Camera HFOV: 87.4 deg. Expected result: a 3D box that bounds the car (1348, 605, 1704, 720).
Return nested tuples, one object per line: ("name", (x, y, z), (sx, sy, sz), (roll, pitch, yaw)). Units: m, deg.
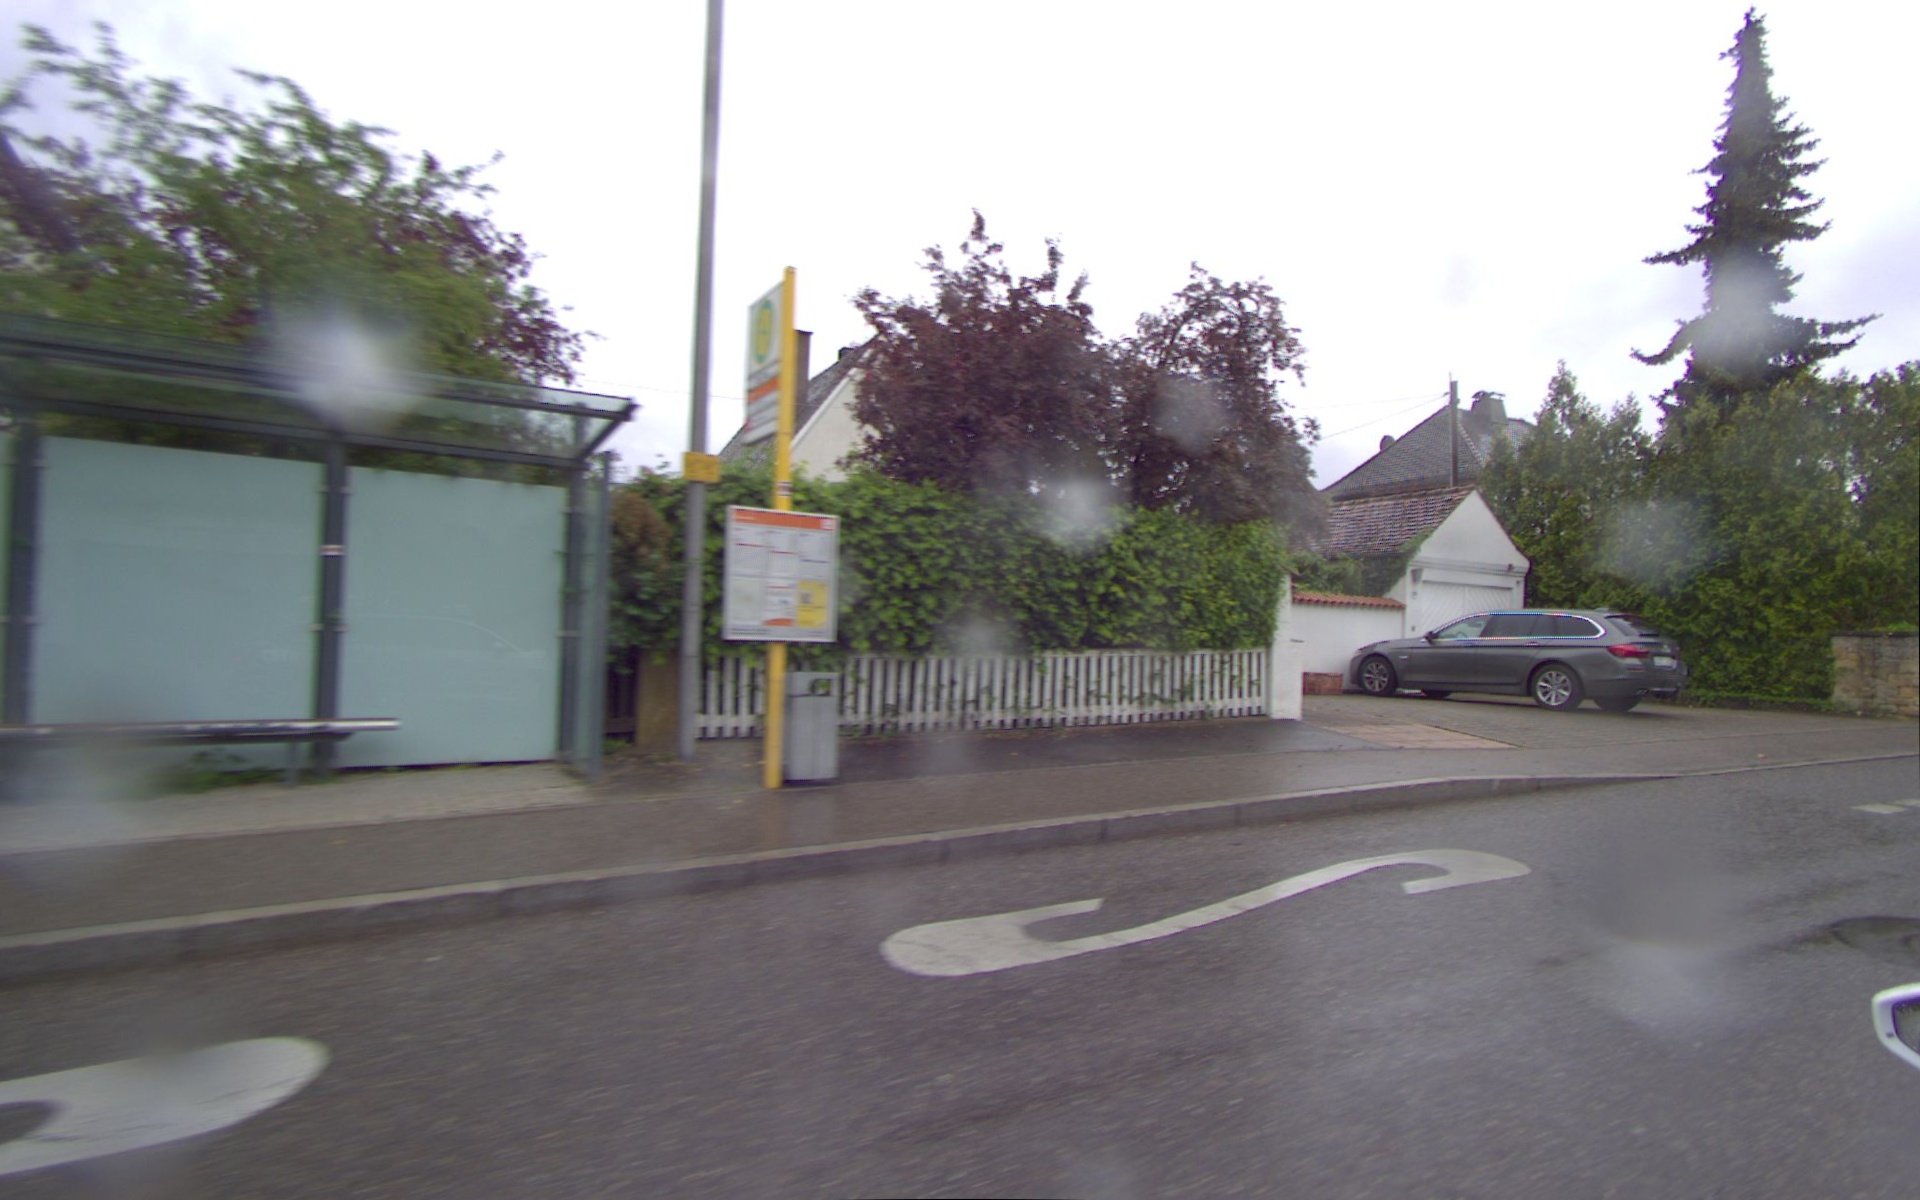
("car", (8.540, 0.849, 15.604), (1.819, 1.495, 4.515), (1, -1, -32))
